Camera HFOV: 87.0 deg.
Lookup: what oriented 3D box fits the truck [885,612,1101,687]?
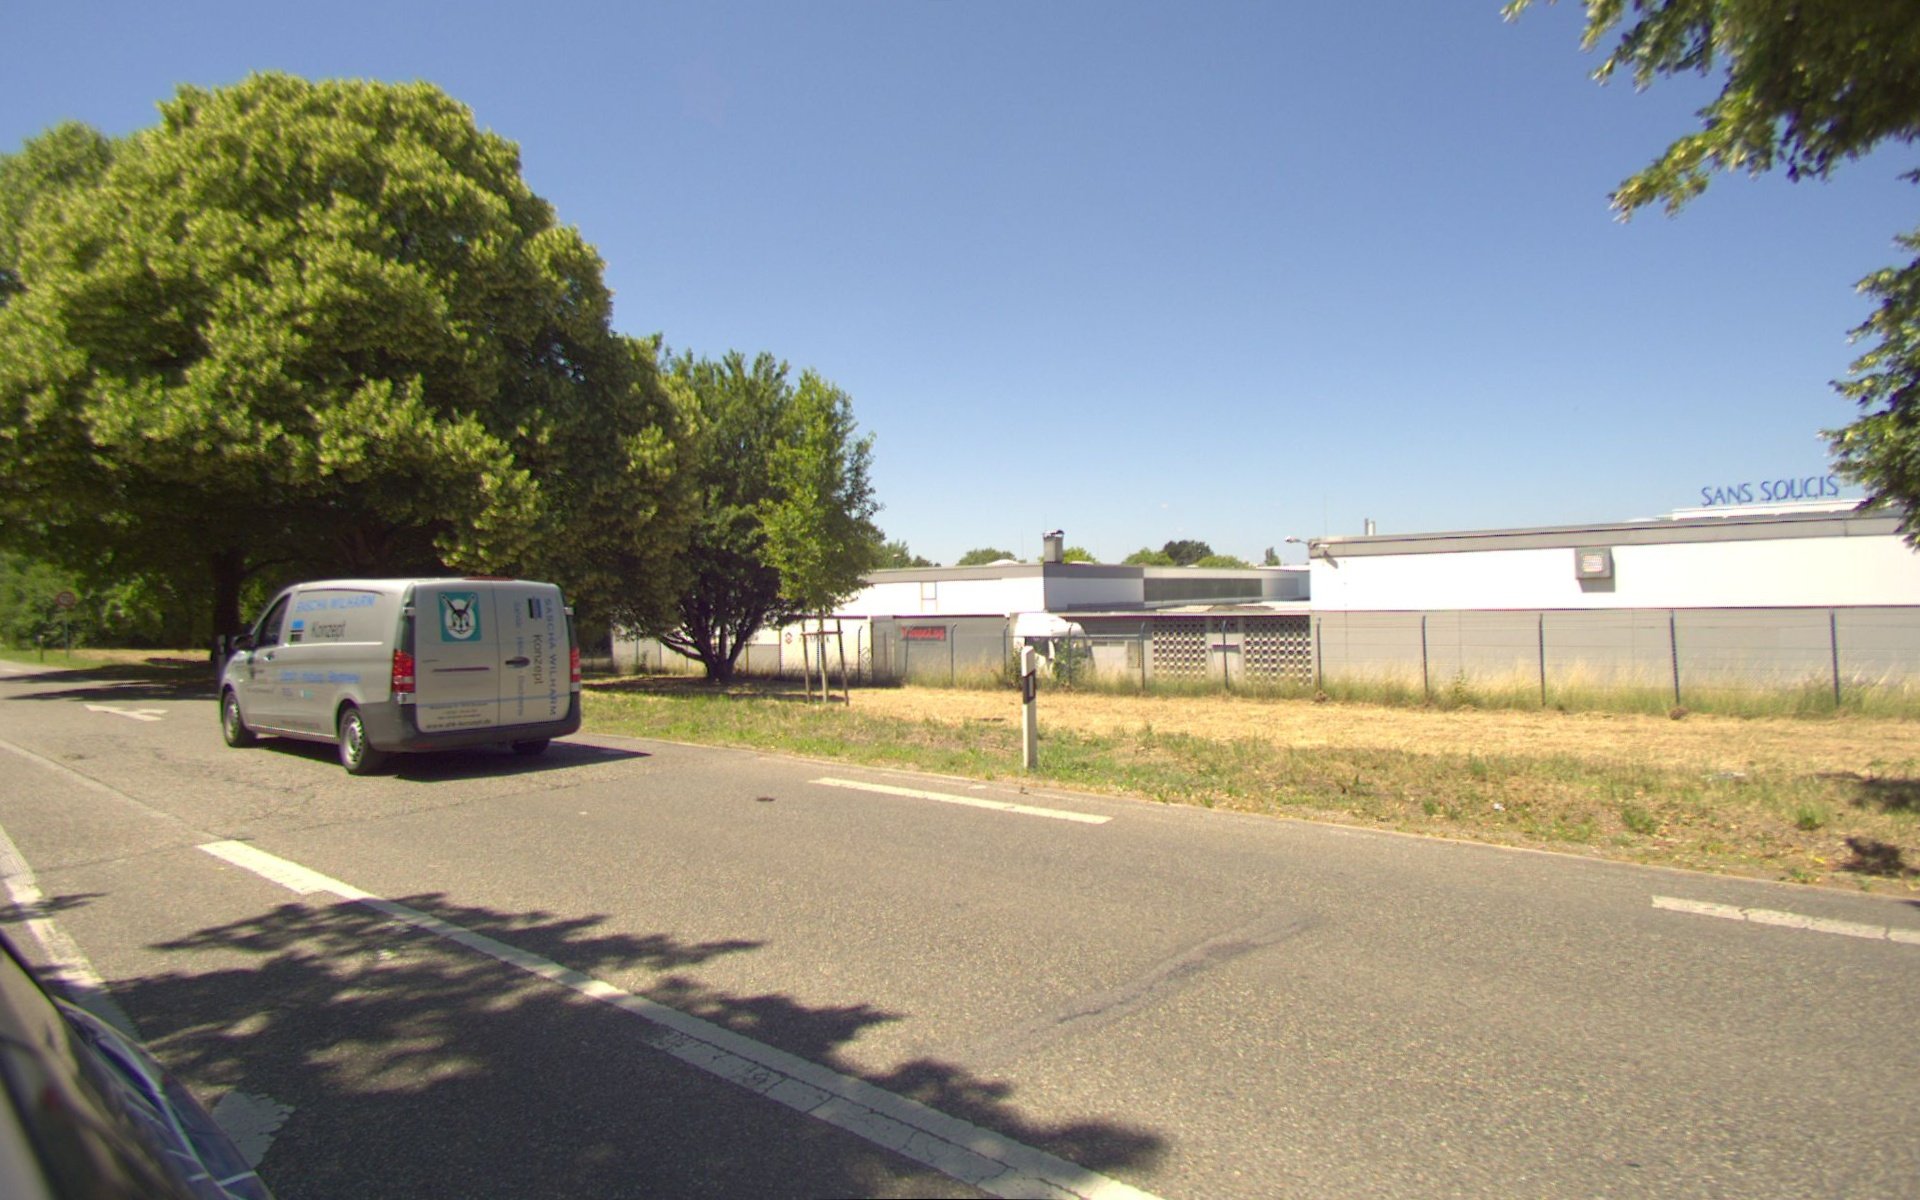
[{"bbox_3d":[1.146,2.079,43.789,10.162,2.818,2.655,-2,0,45],"label":"truck"}]

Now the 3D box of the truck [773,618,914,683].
[{"bbox_3d":[-6.018,2.487,50.951,8.166,2.950,2.406,-2,0,45],"label":"truck"}]

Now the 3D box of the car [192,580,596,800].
[{"bbox_3d":[-6.255,0.798,10.869,5.290,1.848,1.860,-1,-1,37],"label":"car"}]
